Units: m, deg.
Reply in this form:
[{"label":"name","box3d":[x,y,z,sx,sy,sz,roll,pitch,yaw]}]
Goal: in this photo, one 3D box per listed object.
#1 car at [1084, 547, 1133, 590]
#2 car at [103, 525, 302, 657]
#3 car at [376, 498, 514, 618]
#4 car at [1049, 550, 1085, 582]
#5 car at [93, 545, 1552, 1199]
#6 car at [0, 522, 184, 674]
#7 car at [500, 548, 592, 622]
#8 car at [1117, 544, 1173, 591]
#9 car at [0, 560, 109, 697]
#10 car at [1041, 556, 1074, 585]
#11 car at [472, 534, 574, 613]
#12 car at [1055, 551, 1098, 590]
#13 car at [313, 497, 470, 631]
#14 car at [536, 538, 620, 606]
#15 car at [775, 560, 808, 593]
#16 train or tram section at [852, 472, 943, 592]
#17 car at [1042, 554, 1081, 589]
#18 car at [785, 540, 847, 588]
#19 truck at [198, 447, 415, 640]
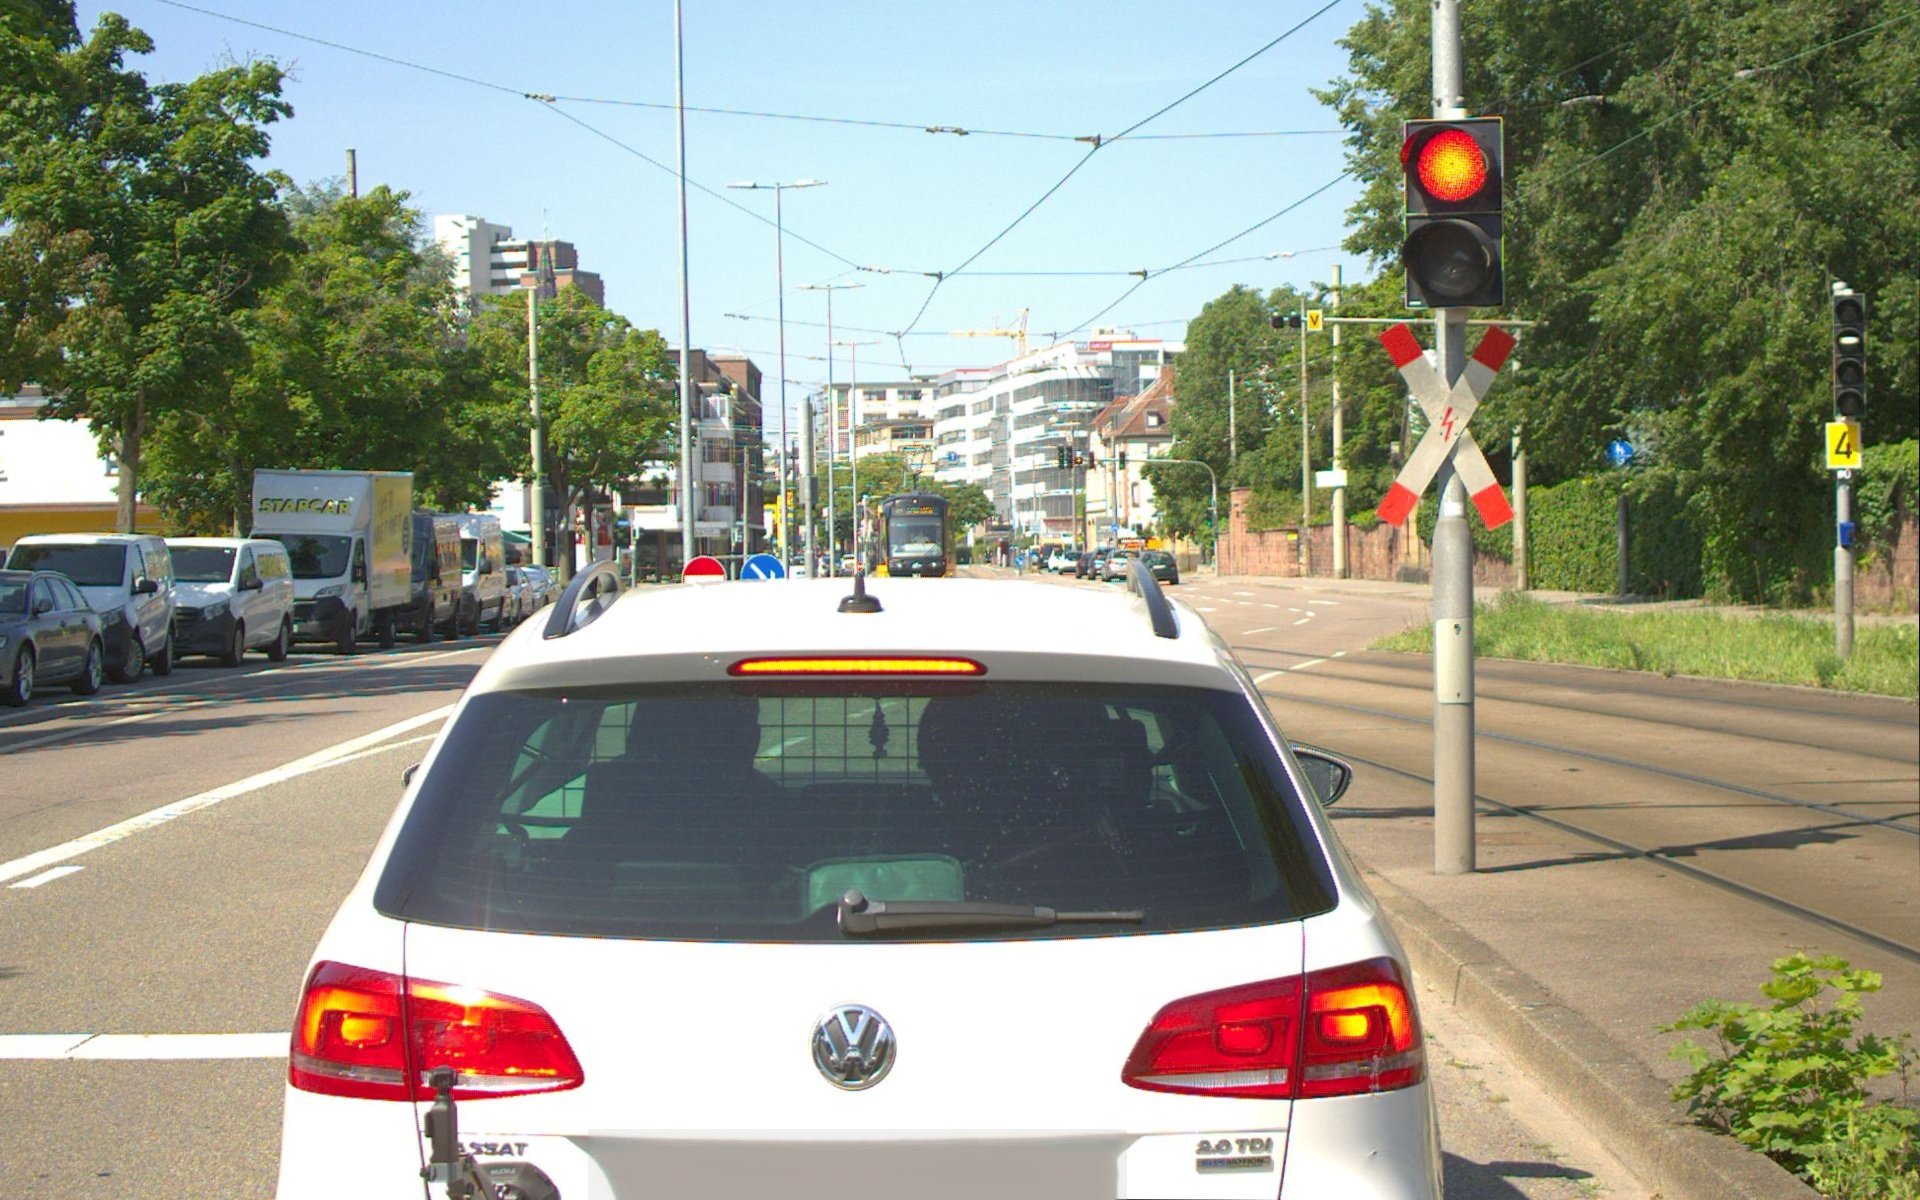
[{"label":"car","box3d":[6.748,-1.463,156.981,1.863,1.861,5.062,1,1,-1]},{"label":"car","box3d":[-11.353,-0.176,51.902,1.863,1.861,5.414,1,1,-1]},{"label":"car","box3d":[-11.287,-0.932,75.754,2.123,2.508,5.733,1,1,0]},{"label":"car","box3d":[6.590,-2.110,212.132,1.863,1.861,5.062,1,1,-1]},{"label":"car","box3d":[-0.180,0.641,6.202,1.762,1.425,4.000,-1,1,-1]},{"label":"car","box3d":[-11.497,-0.079,45.307,1.863,1.861,5.075,1,1,-6]},{"label":"car","box3d":[-10.999,-0.432,91.686,1.863,1.861,5.414,1,1,-1]},{"label":"car","box3d":[7.576,-1.349,140.820,1.863,1.861,5.062,1,1,-1]},{"label":"car","box3d":[-11.040,0.278,38.779,1.863,1.411,4.280,1,1,-1]},{"label":"car","box3d":[6.540,-1.970,230.981,1.863,1.861,5.062,1,1,-1]},{"label":"car","box3d":[-10.745,-0.674,84.867,1.863,1.861,5.414,1,1,-1]},{"label":"car","box3d":[5.861,-1.511,173.112,1.863,1.861,5.062,1,1,-1]},{"label":"car","box3d":[-11.240,-0.732,68.319,2.123,2.508,5.733,1,1,0]},{"label":"car","box3d":[-10.914,-0.837,98.598,1.863,1.861,5.414,1,1,-1]},{"label":"car","box3d":[-10.058,-1.393,204.958,1.762,1.889,4.914,1,1,-1]},{"label":"train or tram section","box3d":[-2.123,-2.327,118.187,2.870,3.842,12.392,-1,1,-1]},{"label":"car","box3d":[5.568,-1.595,189.503,1.863,1.861,5.062,1,1,-1]},{"label":"car","box3d":[-4.661,-1.176,111.773,1.705,1.468,4.589,-2,1,1]},{"label":"truck","box3d":[-11.358,-0.991,60.315,2.421,3.139,6.997,1,1,0]}]
